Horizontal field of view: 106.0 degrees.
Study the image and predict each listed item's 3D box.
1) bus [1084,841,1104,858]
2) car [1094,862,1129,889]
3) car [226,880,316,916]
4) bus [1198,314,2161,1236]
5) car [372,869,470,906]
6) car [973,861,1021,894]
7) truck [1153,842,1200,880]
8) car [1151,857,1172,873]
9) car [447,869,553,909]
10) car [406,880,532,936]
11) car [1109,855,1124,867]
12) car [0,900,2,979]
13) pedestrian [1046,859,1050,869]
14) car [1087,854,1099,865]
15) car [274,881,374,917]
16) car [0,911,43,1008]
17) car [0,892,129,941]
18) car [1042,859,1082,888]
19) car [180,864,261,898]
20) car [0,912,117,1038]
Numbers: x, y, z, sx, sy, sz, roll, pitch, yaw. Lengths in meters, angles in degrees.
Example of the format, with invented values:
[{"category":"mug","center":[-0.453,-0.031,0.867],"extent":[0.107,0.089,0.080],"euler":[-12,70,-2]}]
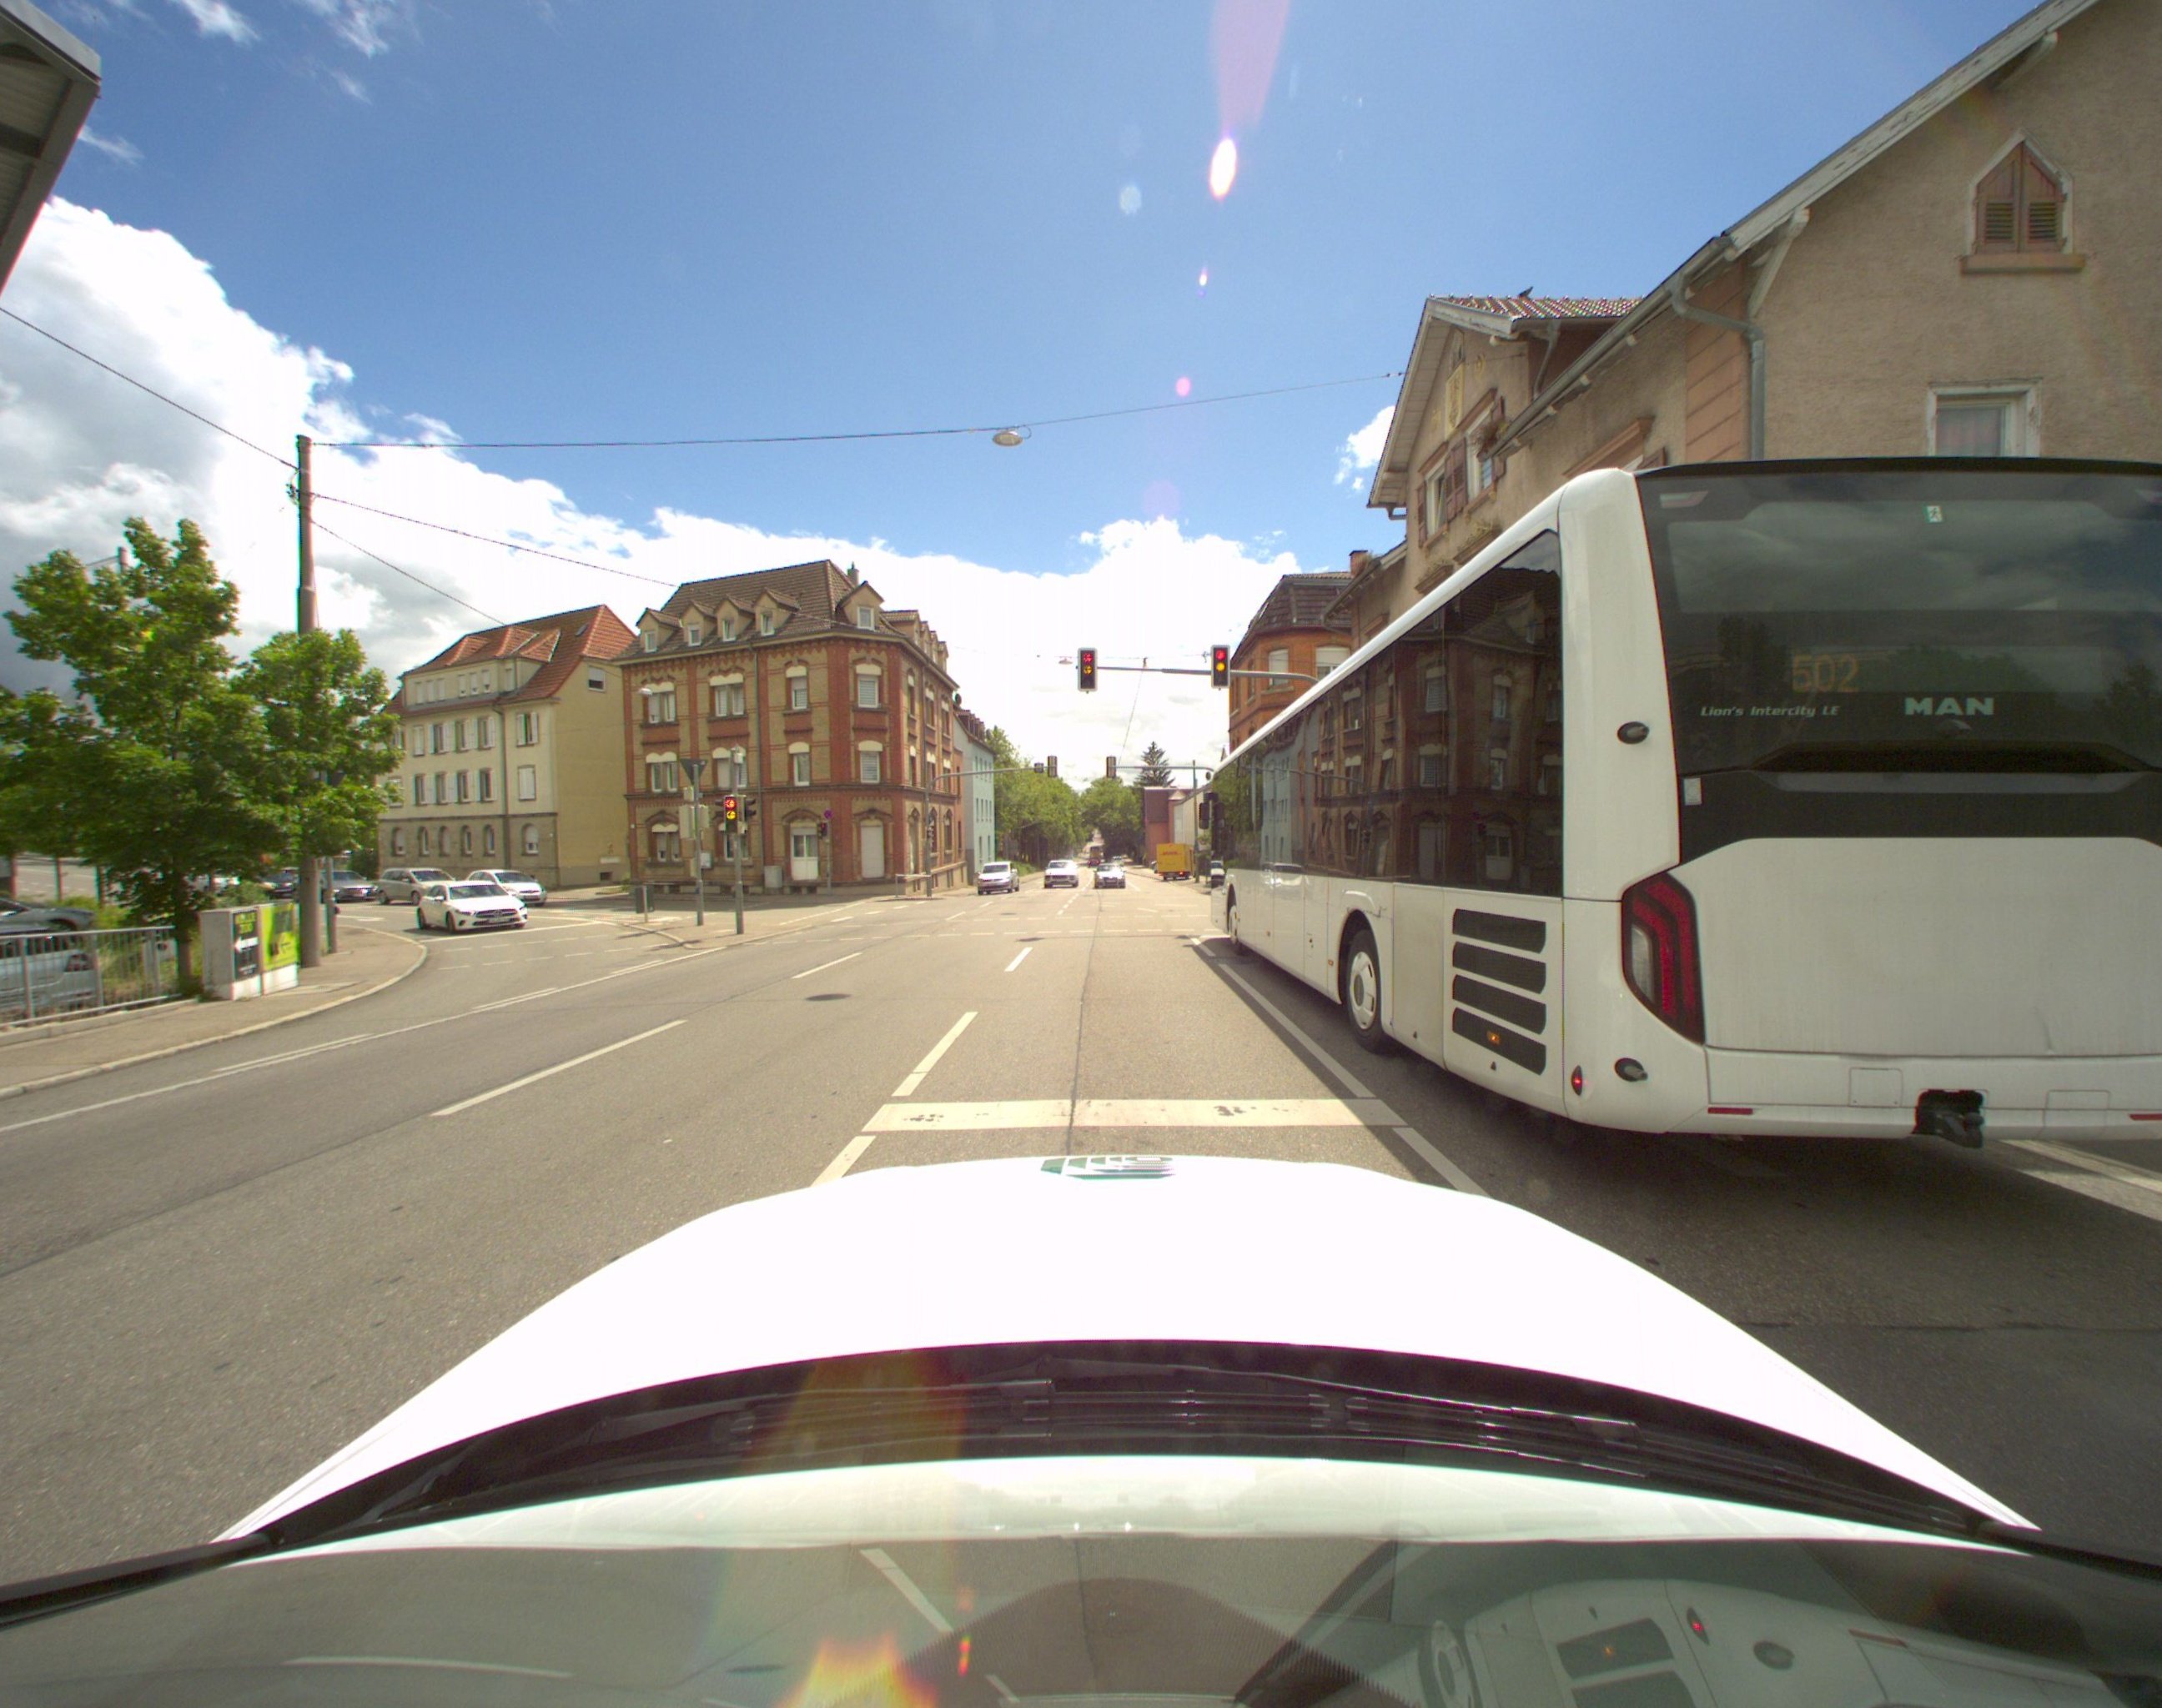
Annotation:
[{"category":"bus","center":[2.880,-0.920,187.644],"extent":[3.296,3.631,11.220],"euler":[-2,0,-6]},{"category":"car","center":[1.721,1.208,46.751],"extent":[1.858,1.367,4.549],"euler":[-2,0,2]},{"category":"car","center":[-40.184,2.135,40.394],"extent":[4.291,1.586,2.012],"euler":[-1,0,29]},{"category":"bus","center":[3.507,-0.257,9.352],"extent":[2.893,3.510,12.492],"euler":[0,-1,2]},{"category":"car","center":[-29.209,1.472,36.056],"extent":[3.951,1.519,1.757],"euler":[-1,0,24]},{"category":"car","center":[-4.414,1.217,43.572],"extent":[1.928,1.563,4.390],"euler":[-2,0,2]},{"category":"truck","center":[7.820,0.577,66.219],"extent":[2.521,2.913,6.603],"euler":[-1,-1,18]},{"category":"car","center":[9.160,1.238,93.088],"extent":[1.904,1.817,3.998],"euler":[-1,0,-1]},{"category":"car","center":[-23.601,1.395,33.067],"extent":[3.951,1.497,1.711],"euler":[-1,0,24]},{"category":"car","center":[-18.250,1.544,24.220],"extent":[4.334,1.447,1.875],"euler":[-2,0,37]},{"category":"car","center":[5.680,1.106,129.515],"extent":[2.086,1.830,4.140],"euler":[-1,0,-1]},{"category":"car","center":[-23.411,1.737,16.437],"extent":[3.371,1.575,1.526],"euler":[-1,0,30]},{"category":"pedestrian","center":[-5.587,1.652,136.993],"extent":[0.604,1.758,0.654],"euler":[-2,0,0]},{"category":"car","center":[1.876,0.854,130.007],"extent":[1.812,1.784,4.002],"euler":[-2,0,2]},{"category":"car","center":[-35.452,2.081,38.150],"extent":[3.951,1.519,2.011],"euler":[-1,0,24]},{"category":"car","center":[-19.720,1.834,14.157],"extent":[3.744,1.523,1.526],"euler":[-1,0,30]},{"category":"car","center":[-29.259,1.732,22.221],"extent":[1.795,1.186,4.025],"euler":[-1,0,31]},{"category":"car","center":[-1.115,1.176,50.434],"extent":[2.199,1.613,4.549],"euler":[-2,0,2]},{"category":"car","center":[-46.433,1.456,43.965],"extent":[3.950,1.720,1.957],"euler":[-1,0,27]},{"category":"car","center":[-16.125,1.742,12.186],"extent":[3.638,1.575,1.766],"euler":[-1,-2,34]}]
